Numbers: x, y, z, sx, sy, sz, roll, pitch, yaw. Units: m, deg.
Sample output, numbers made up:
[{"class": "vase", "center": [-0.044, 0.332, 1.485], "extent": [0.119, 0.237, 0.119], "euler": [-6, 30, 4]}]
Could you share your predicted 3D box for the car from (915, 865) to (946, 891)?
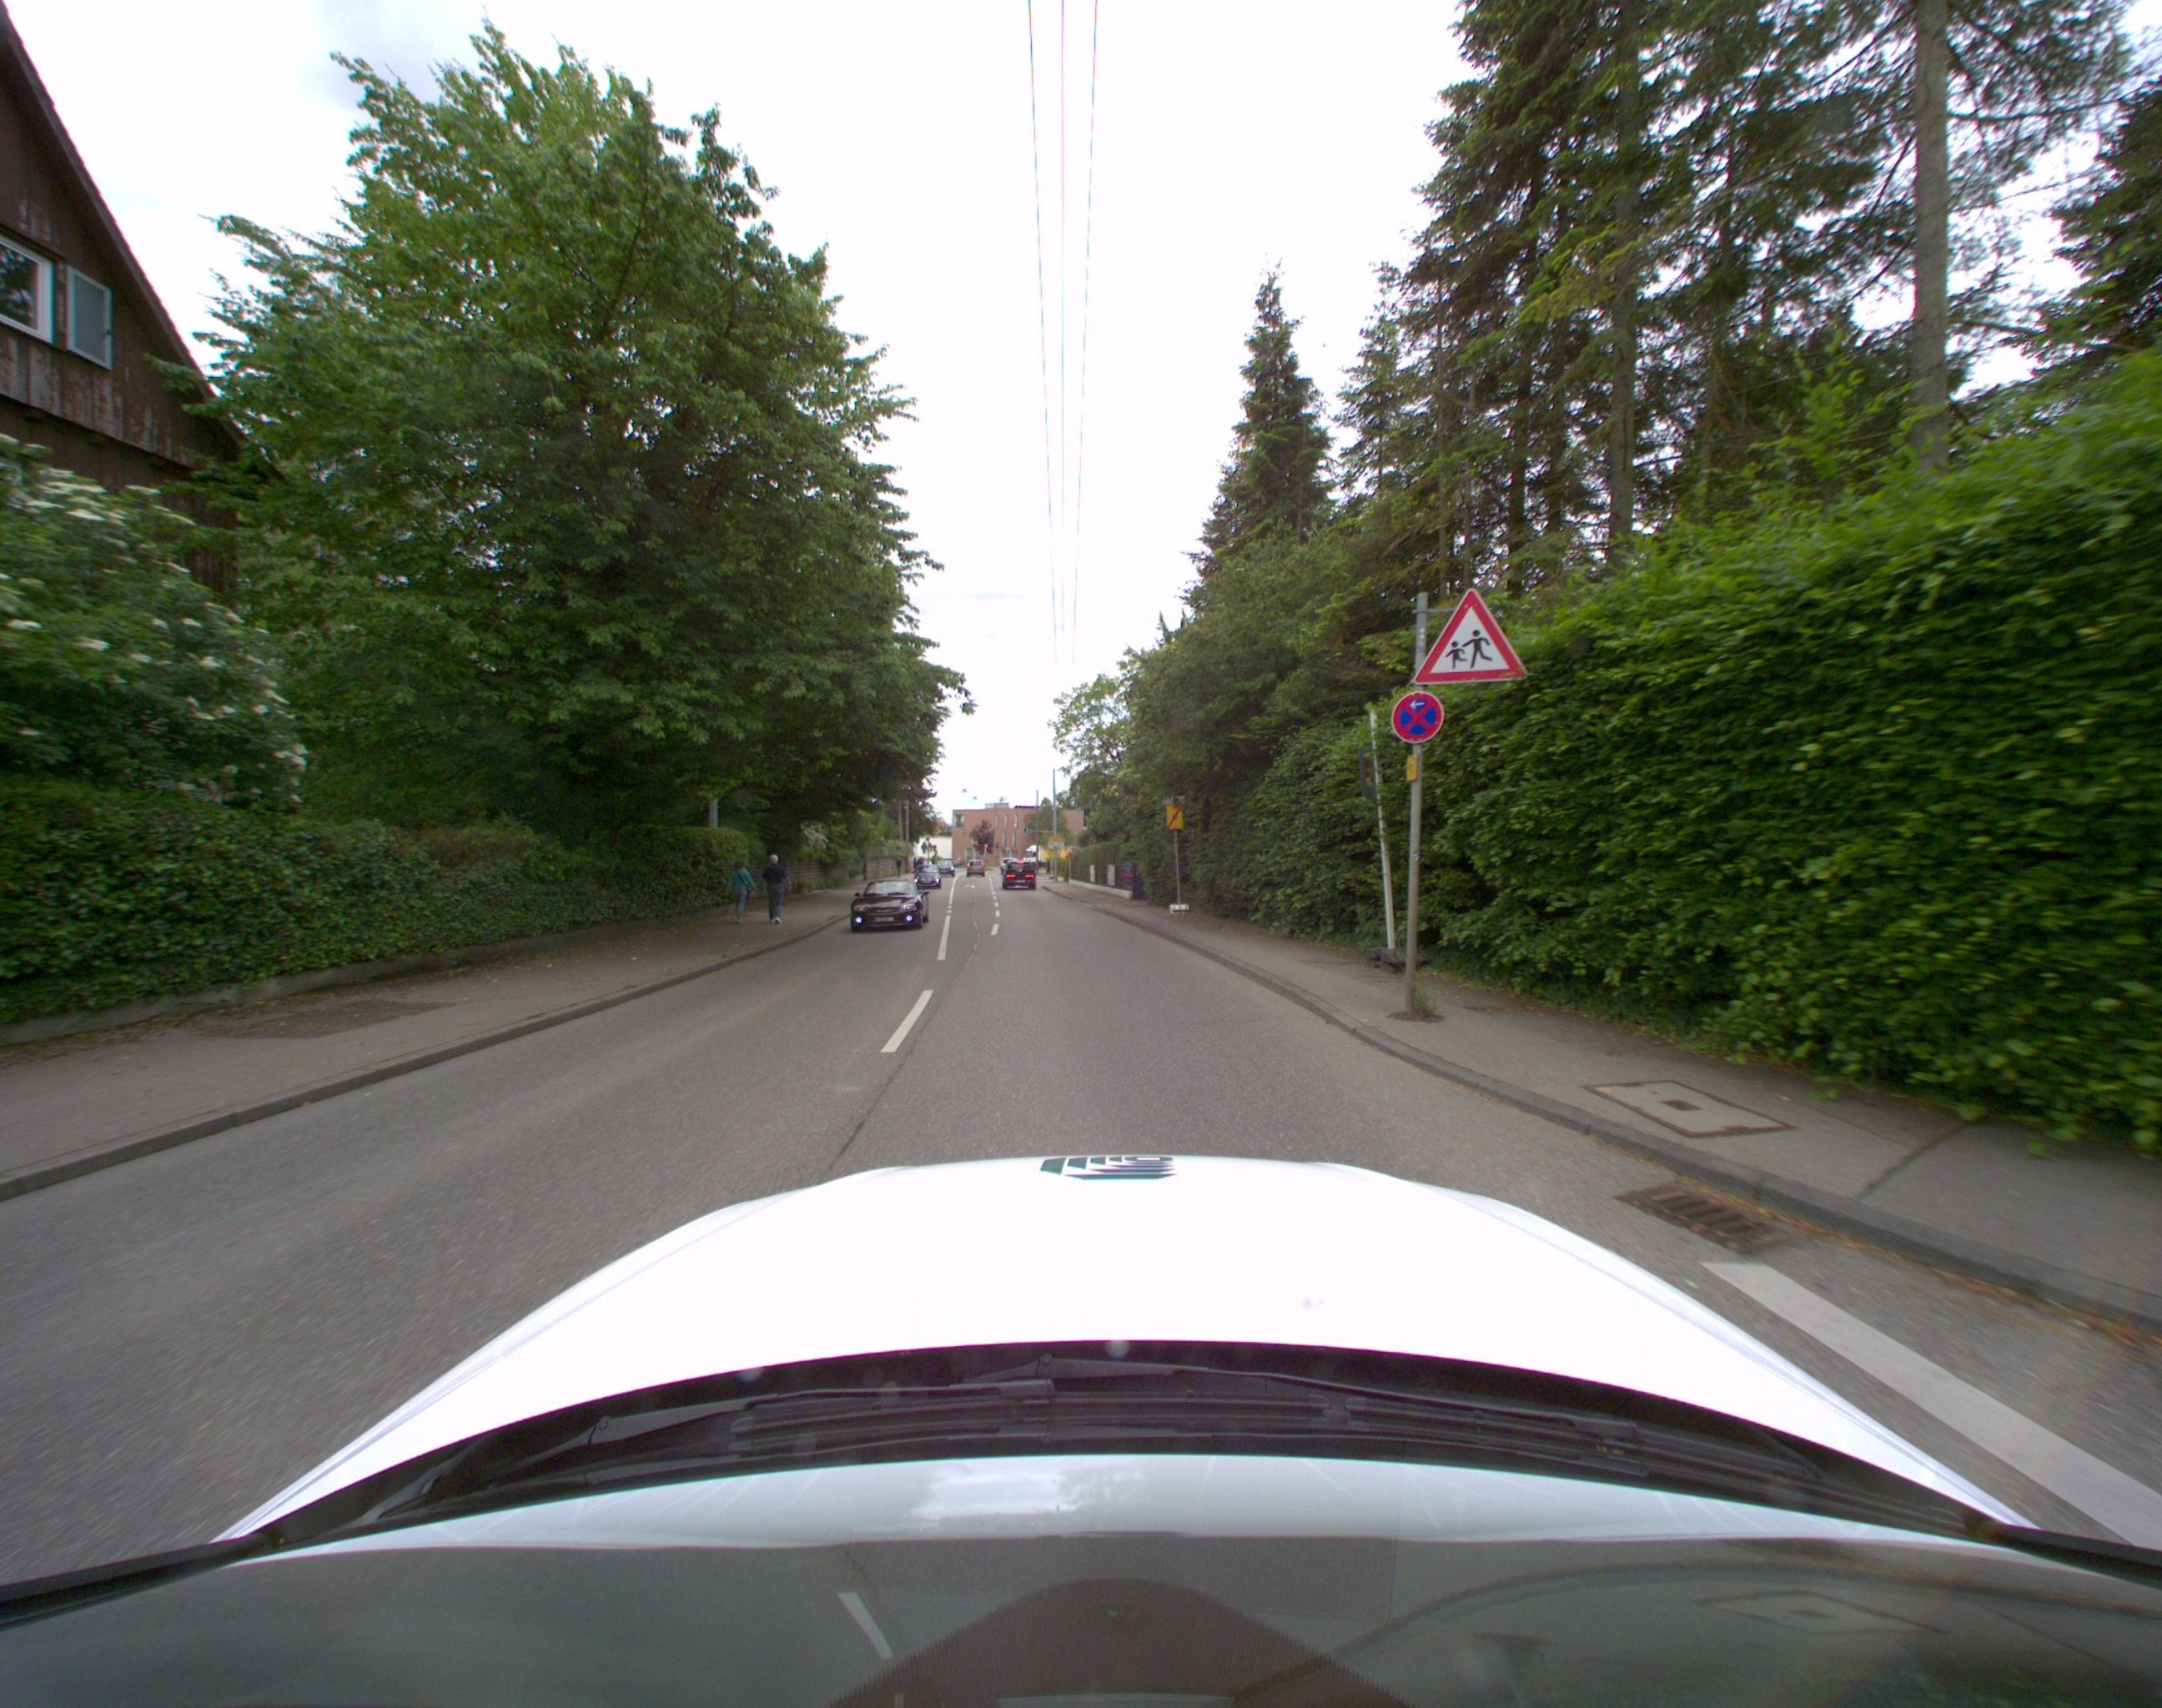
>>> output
[{"class": "car", "center": [-9.305, 1.435, 50.103], "extent": [1.721, 1.471, 3.516], "euler": [-2, 0, -13]}]

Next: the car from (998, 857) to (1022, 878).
[{"class": "car", "center": [-8.001, 1.503, 92.339], "extent": [1.953, 2.013, 4.433], "euler": [3, 1, 3]}]

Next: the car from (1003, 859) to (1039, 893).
[{"class": "car", "center": [-3.583, 1.271, 48.291], "extent": [1.991, 1.882, 3.991], "euler": [0, -1, -6]}]

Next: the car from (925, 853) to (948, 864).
[{"class": "car", "center": [-27.795, 0.853, 156.810], "extent": [4.016, 2.013, 1.979], "euler": [-1, 1, -35]}]

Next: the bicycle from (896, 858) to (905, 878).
[{"class": "bicycle", "center": [-15.387, 1.174, 69.638], "extent": [0.561, 1.676, 1.975], "euler": [1, 0, -8]}]

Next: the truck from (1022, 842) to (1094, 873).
[{"class": "truck", "center": [-3.605, 0.570, 129.692], "extent": [11.849, 4.734, 3.100], "euler": [0, 0, -38]}]

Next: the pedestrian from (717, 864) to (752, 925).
[{"class": "pedestrian", "center": [-8.398, 0.975, 19.760], "extent": [0.671, 1.449, 0.752], "euler": [2, -1, -20]}]

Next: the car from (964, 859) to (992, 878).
[{"class": "car", "center": [-9.788, 1.369, 77.558], "extent": [1.884, 1.706, 4.005], "euler": [0, 0, 4]}]

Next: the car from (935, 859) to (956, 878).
[{"class": "car", "center": [-13.130, 1.347, 78.596], "extent": [1.833, 1.630, 4.265], "euler": [-1, 1, -12]}]

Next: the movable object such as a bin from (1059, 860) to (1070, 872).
[{"class": "movable object such as a bin", "center": [-1.572, 1.133, 78.192], "extent": [0.720, 1.073, 0.674], "euler": [3, -2, -44]}]

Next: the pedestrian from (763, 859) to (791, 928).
[{"class": "pedestrian", "center": [-7.515, 0.953, 20.151], "extent": [0.631, 1.662, 0.913], "euler": [0, -1, -20]}]

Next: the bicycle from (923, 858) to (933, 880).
[{"class": "bicycle", "center": [-13.088, 1.271, 69.745], "extent": [0.758, 1.744, 1.866], "euler": [-1, 0, -8]}]

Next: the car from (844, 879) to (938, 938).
[{"class": "car", "center": [-4.662, 1.298, 20.445], "extent": [1.688, 1.177, 3.781], "euler": [-2, 0, -4]}]
